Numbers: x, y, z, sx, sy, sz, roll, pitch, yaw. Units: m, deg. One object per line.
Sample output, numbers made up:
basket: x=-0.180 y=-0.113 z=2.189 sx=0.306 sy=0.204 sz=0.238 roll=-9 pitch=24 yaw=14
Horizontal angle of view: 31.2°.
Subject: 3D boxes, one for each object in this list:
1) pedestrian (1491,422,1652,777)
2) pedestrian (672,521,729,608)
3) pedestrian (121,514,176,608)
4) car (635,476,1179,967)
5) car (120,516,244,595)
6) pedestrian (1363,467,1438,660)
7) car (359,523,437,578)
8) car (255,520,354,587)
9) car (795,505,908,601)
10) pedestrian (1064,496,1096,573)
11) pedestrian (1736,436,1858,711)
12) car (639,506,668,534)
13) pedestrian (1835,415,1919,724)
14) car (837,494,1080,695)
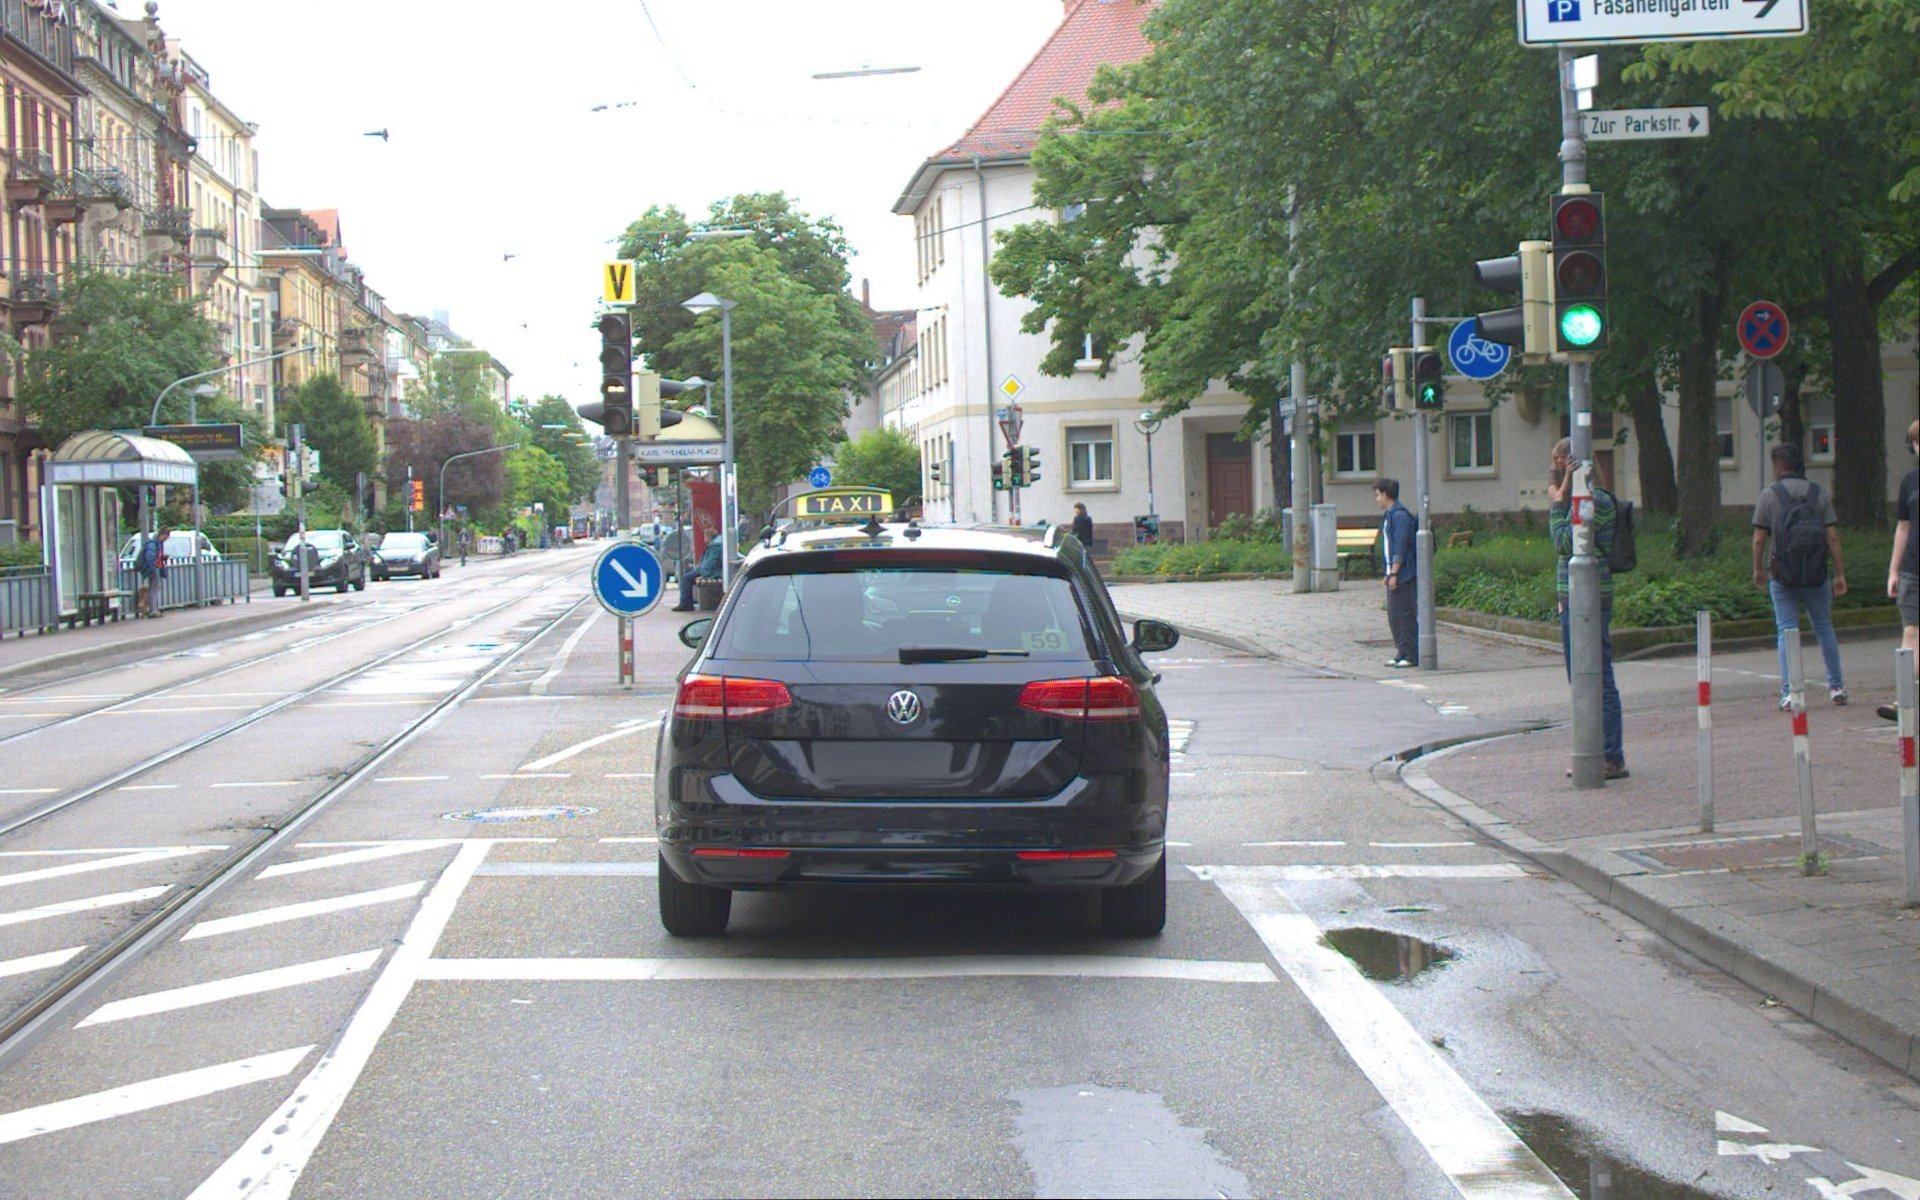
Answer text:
pedestrian: x=3.260 y=-0.009 z=18.353 sx=0.585 sy=1.824 sz=0.604 roll=-5 pitch=2 yaw=-3
pedestrian: x=-3.982 y=-0.548 z=52.676 sx=0.822 sy=1.300 sz=0.569 roll=-2 pitch=1 yaw=-5
pedestrian: x=-13.268 y=-0.638 z=56.224 sx=0.714 sy=1.515 sz=0.590 roll=-2 pitch=1 yaw=-2
car: x=-0.312 y=0.337 z=13.089 sx=1.723 sy=1.541 sz=4.001 roll=-1 pitch=2 yaw=-4
car: x=-16.576 y=-0.978 z=73.443 sx=1.795 sy=1.590 sz=4.001 roll=-2 pitch=1 yaw=-1
pedestrian: x=4.290 y=-0.359 z=33.475 sx=0.514 sy=1.824 sz=0.418 roll=-5 pitch=2 yaw=-3
car: x=-17.309 y=-1.547 z=106.002 sx=1.795 sy=1.590 sz=4.001 roll=-2 pitch=1 yaw=-1
car: x=-16.575 y=-1.203 z=87.122 sx=1.795 sy=1.590 sz=4.001 roll=-2 pitch=1 yaw=-1
car: x=-1.883 y=-0.834 z=58.777 sx=1.723 sy=1.541 sz=4.001 roll=-1 pitch=2 yaw=-4
pedestrian: x=2.428 y=-1.336 z=69.771 sx=0.581 sy=1.548 sz=0.609 roll=-1 pitch=1 yaw=-2
pedestrian: x=5.642 y=-0.188 z=23.201 sx=0.632 sy=1.808 sz=0.726 roll=-2 pitch=1 yaw=3
car: x=-22.693 y=-5.923 z=254.372 sx=2.032 sy=2.007 sz=4.001 roll=-1 pitch=1 yaw=-4
pedestrian: x=5.805 y=-0.192 z=20.658 sx=0.651 sy=1.824 sz=0.800 roll=-3 pitch=2 yaw=-45
car: x=-0.080 y=-0.098 z=28.996 sx=1.723 sy=1.541 sz=4.001 roll=-1 pitch=2 yaw=-4
